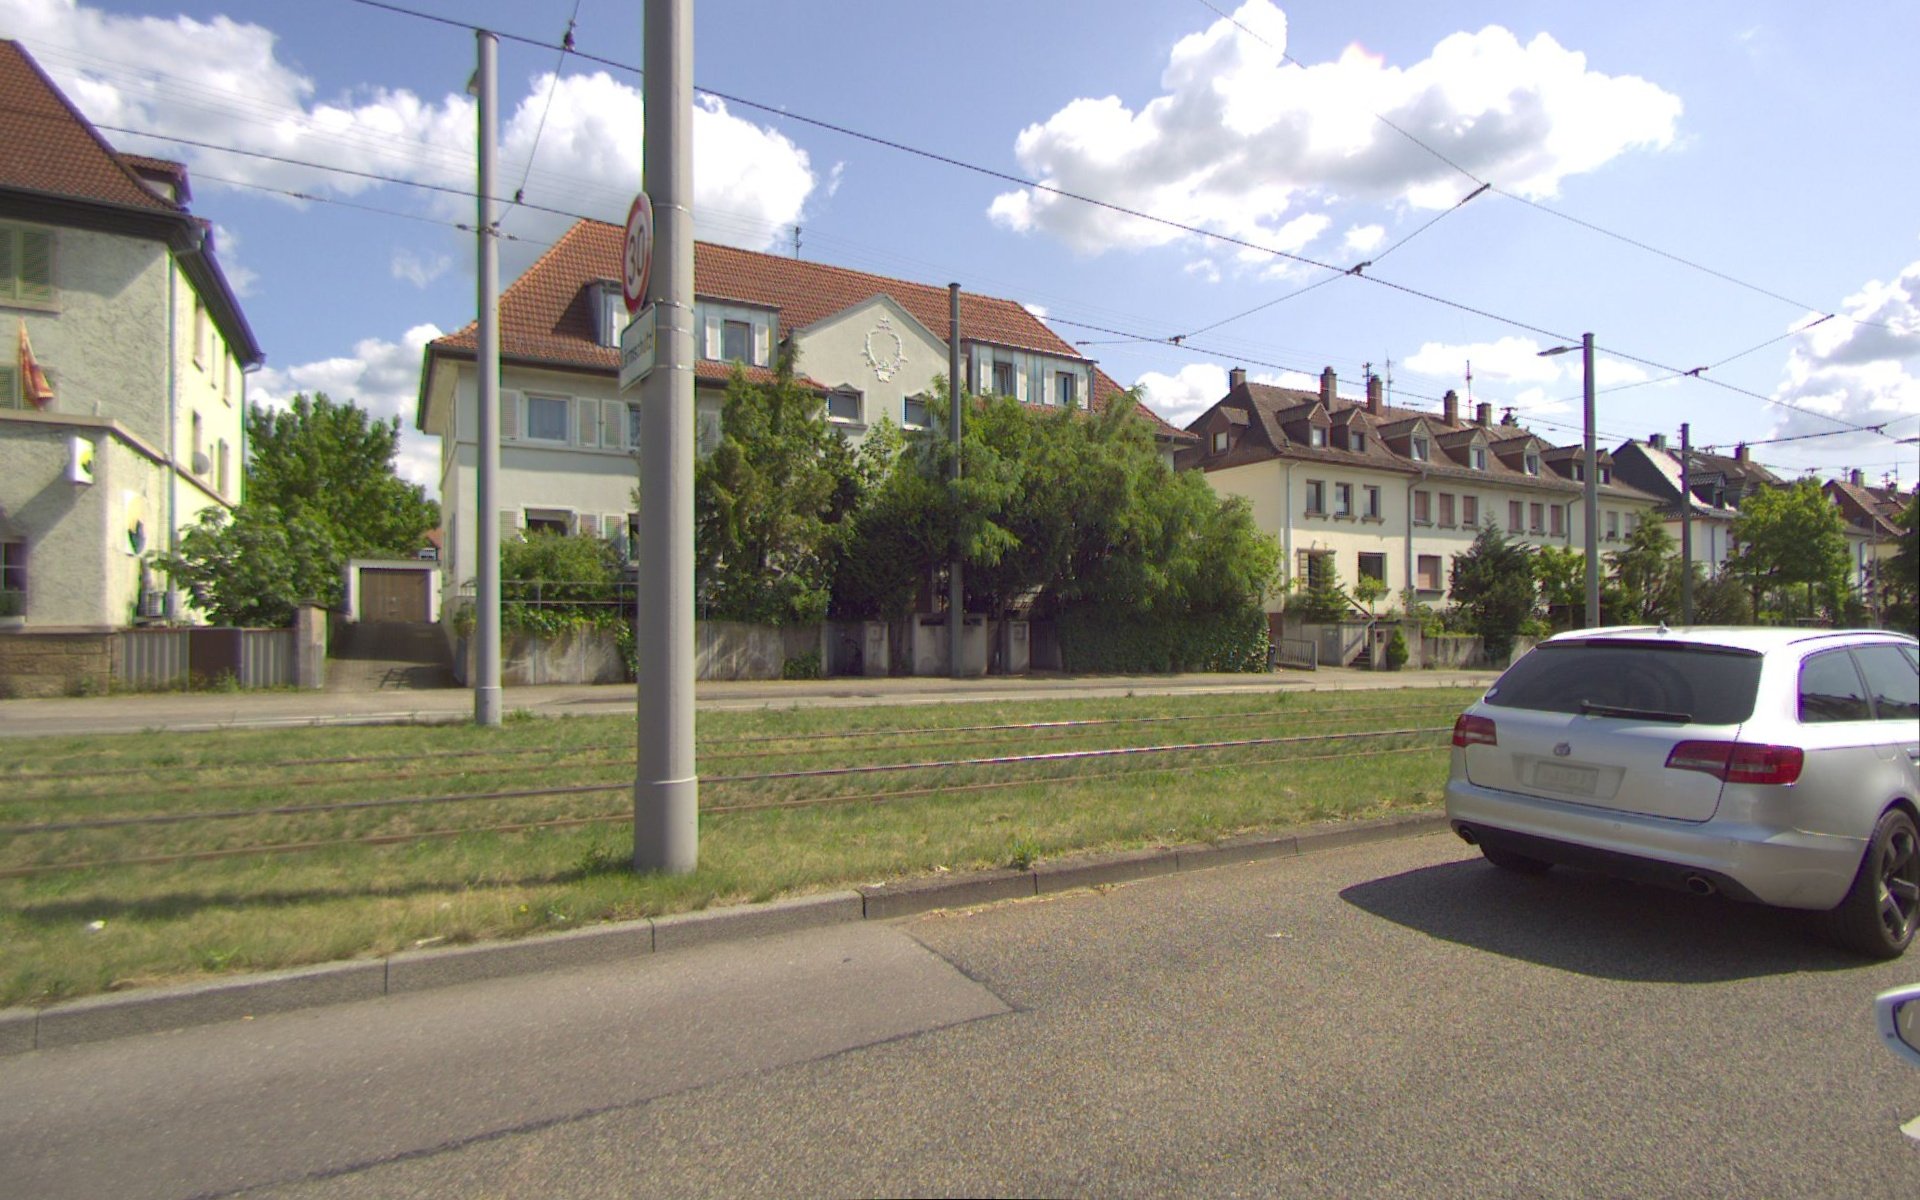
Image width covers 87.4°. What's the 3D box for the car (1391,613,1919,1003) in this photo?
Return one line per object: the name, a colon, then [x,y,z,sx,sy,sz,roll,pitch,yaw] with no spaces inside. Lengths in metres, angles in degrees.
car: [4.787,0.863,5.820,4.666,1.491,1.786,2,-1,-30]
